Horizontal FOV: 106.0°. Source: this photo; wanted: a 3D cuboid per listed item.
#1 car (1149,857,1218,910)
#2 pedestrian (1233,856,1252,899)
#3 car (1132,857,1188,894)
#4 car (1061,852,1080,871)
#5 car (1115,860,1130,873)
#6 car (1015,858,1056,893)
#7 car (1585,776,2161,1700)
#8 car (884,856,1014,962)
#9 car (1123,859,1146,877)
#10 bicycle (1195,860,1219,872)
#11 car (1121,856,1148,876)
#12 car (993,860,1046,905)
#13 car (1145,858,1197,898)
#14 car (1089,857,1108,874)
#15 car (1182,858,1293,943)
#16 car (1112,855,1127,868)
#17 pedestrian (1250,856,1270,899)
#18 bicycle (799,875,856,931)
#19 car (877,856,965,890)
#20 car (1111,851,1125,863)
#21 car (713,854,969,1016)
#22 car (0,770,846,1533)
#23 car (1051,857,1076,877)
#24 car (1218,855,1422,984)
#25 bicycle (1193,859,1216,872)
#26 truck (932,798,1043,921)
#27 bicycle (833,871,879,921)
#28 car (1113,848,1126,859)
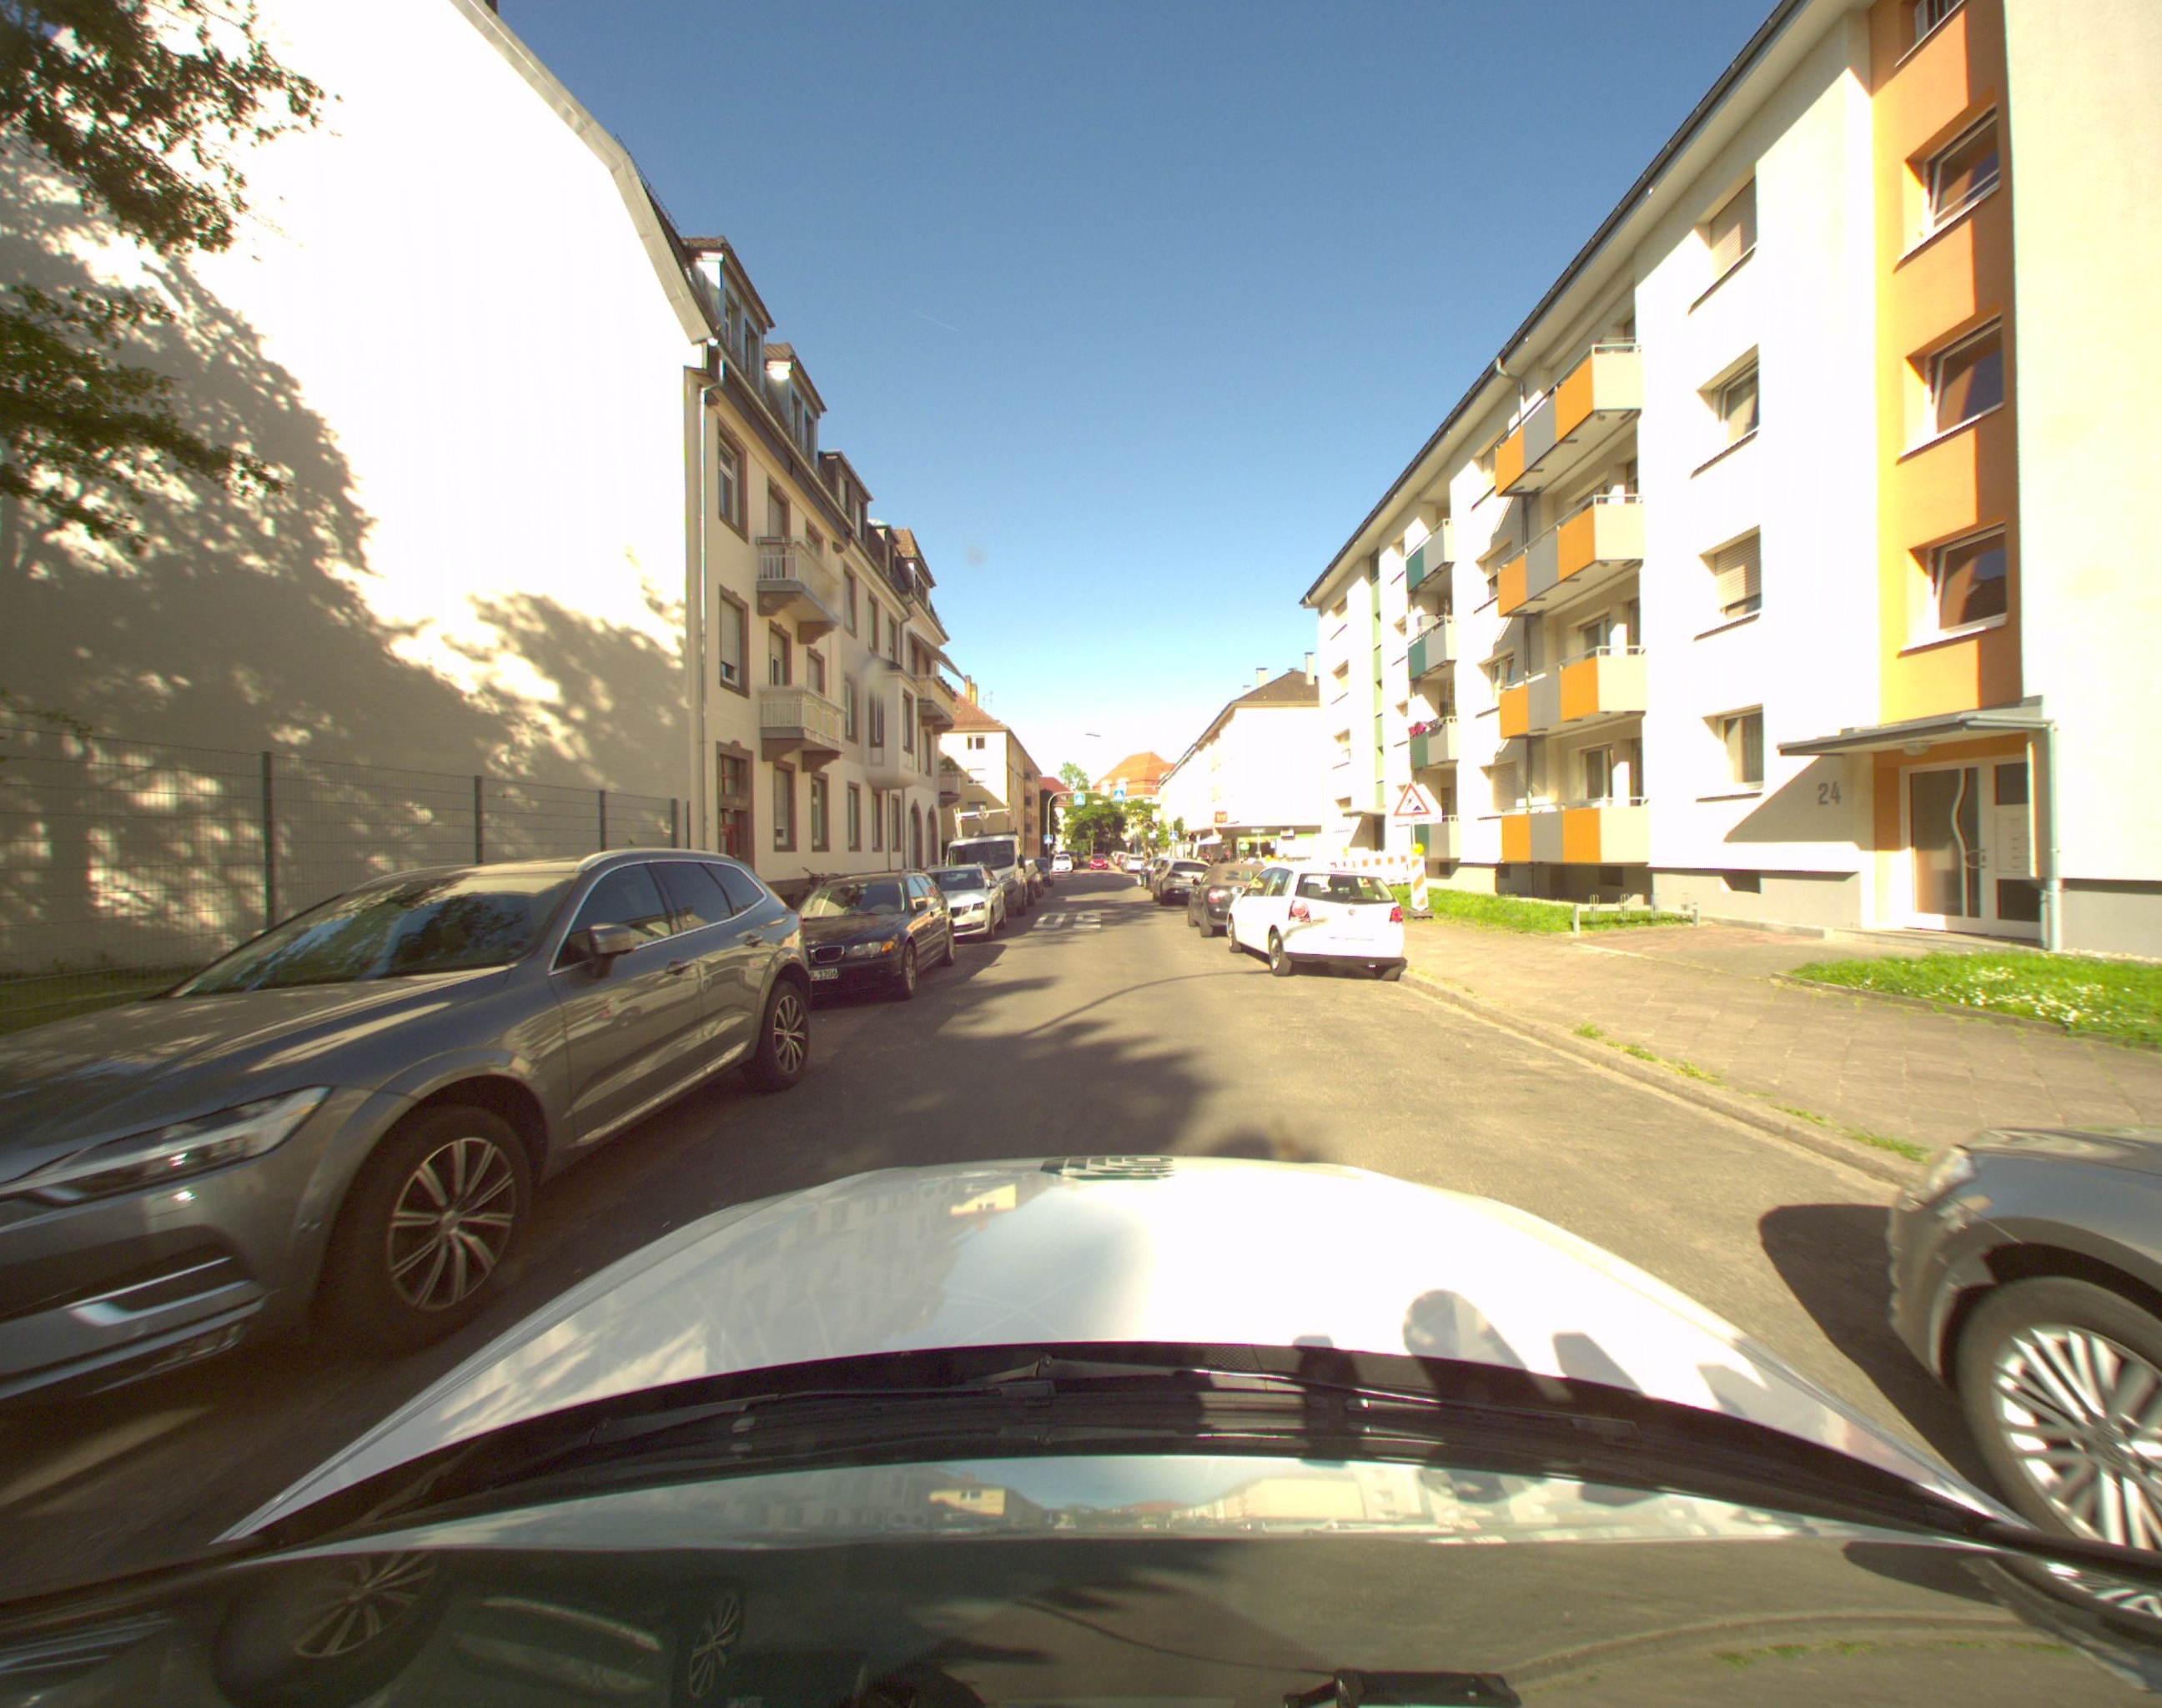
[{"bbox_3d":[3.213,0.878,26.312,1.785,1.471,4.341,2,0,2],"label":"car"},{"bbox_3d":[5.567,0.811,28.056,0.502,1.433,0.453,-3,1,17],"label":"pedestrian"},{"bbox_3d":[3.500,0.917,36.964,1.849,1.523,4.772,-1,0,-3],"label":"car"},{"bbox_3d":[-1.027,0.748,80.434,1.691,1.778,4.100,-2,0,1],"label":"car"},{"bbox_3d":[4.920,1.438,96.240,1.632,1.440,3.419,-2,0,0],"label":"car"},{"bbox_3d":[-2.193,1.012,40.065,1.699,1.416,4.372,-6,0,-1],"label":"car"},{"bbox_3d":[2.850,0.684,0.779,1.893,1.622,4.601,0,0,0],"label":"car"},{"bbox_3d":[-2.516,0.970,16.646,1.787,1.540,4.640,-7,1,-1],"label":"car"},{"bbox_3d":[4.577,1.200,69.864,1.685,1.440,3.418,-1,0,0],"label":"car"},{"bbox_3d":[10.532,0.990,67.984,1.806,0.967,0.671,-2,0,-10],"label":"bicycle"},{"bbox_3d":[4.264,0.936,65.051,1.840,1.440,3.418,-2,0,-1],"label":"car"},{"bbox_3d":[-2.269,1.005,30.847,1.641,1.416,4.079,-6,0,-1],"label":"car"},{"bbox_3d":[3.491,0.903,32.205,1.639,1.460,3.939,-1,0,0],"label":"car"},{"bbox_3d":[1.688,1.034,76.183,1.691,1.440,3.420,-2,0,2],"label":"car"},{"bbox_3d":[3.083,0.854,16.696,1.682,1.467,3.584,1,1,2],"label":"car"},{"bbox_3d":[4.839,0.950,102.607,1.632,1.440,3.419,-2,0,0],"label":"car"},{"bbox_3d":[6.164,0.794,28.045,0.570,1.433,0.474,-3,1,18],"label":"pedestrian"},{"bbox_3d":[-6.414,1.209,20.746,0.627,1.203,2.341,-2,1,1],"label":"bicycle"},{"bbox_3d":[-8.623,0.971,43.914,4.475,1.615,1.768,-2,0,-17],"label":"car"},{"bbox_3d":[4.896,0.424,107.411,1.632,1.440,3.419,-2,0,0],"label":"car"},{"bbox_3d":[-2.729,0.821,10.451,1.785,1.562,4.461,-2,0,2],"label":"car"},{"bbox_3d":[-2.935,0.689,4.258,1.873,1.663,4.931,-4,0,0],"label":"car"},{"bbox_3d":[-1.457,1.071,69.382,1.785,1.480,4.100,-3,1,1],"label":"car"},{"bbox_3d":[3.229,0.802,11.801,1.681,1.462,3.817,3,0,-2],"label":"car"},{"bbox_3d":[10.408,0.949,68.593,1.806,0.967,0.671,-2,0,-10],"label":"bicycle"},{"bbox_3d":[-2.496,0.141,23.864,2.251,2.986,7.275,-2,0,0],"label":"truck"},{"bbox_3d":[-6.507,1.187,23.673,0.567,1.279,2.341,-2,1,1],"label":"bicycle"},{"bbox_3d":[5.238,-0.131,111.799,1.632,1.440,3.419,-2,0,0],"label":"car"}]
